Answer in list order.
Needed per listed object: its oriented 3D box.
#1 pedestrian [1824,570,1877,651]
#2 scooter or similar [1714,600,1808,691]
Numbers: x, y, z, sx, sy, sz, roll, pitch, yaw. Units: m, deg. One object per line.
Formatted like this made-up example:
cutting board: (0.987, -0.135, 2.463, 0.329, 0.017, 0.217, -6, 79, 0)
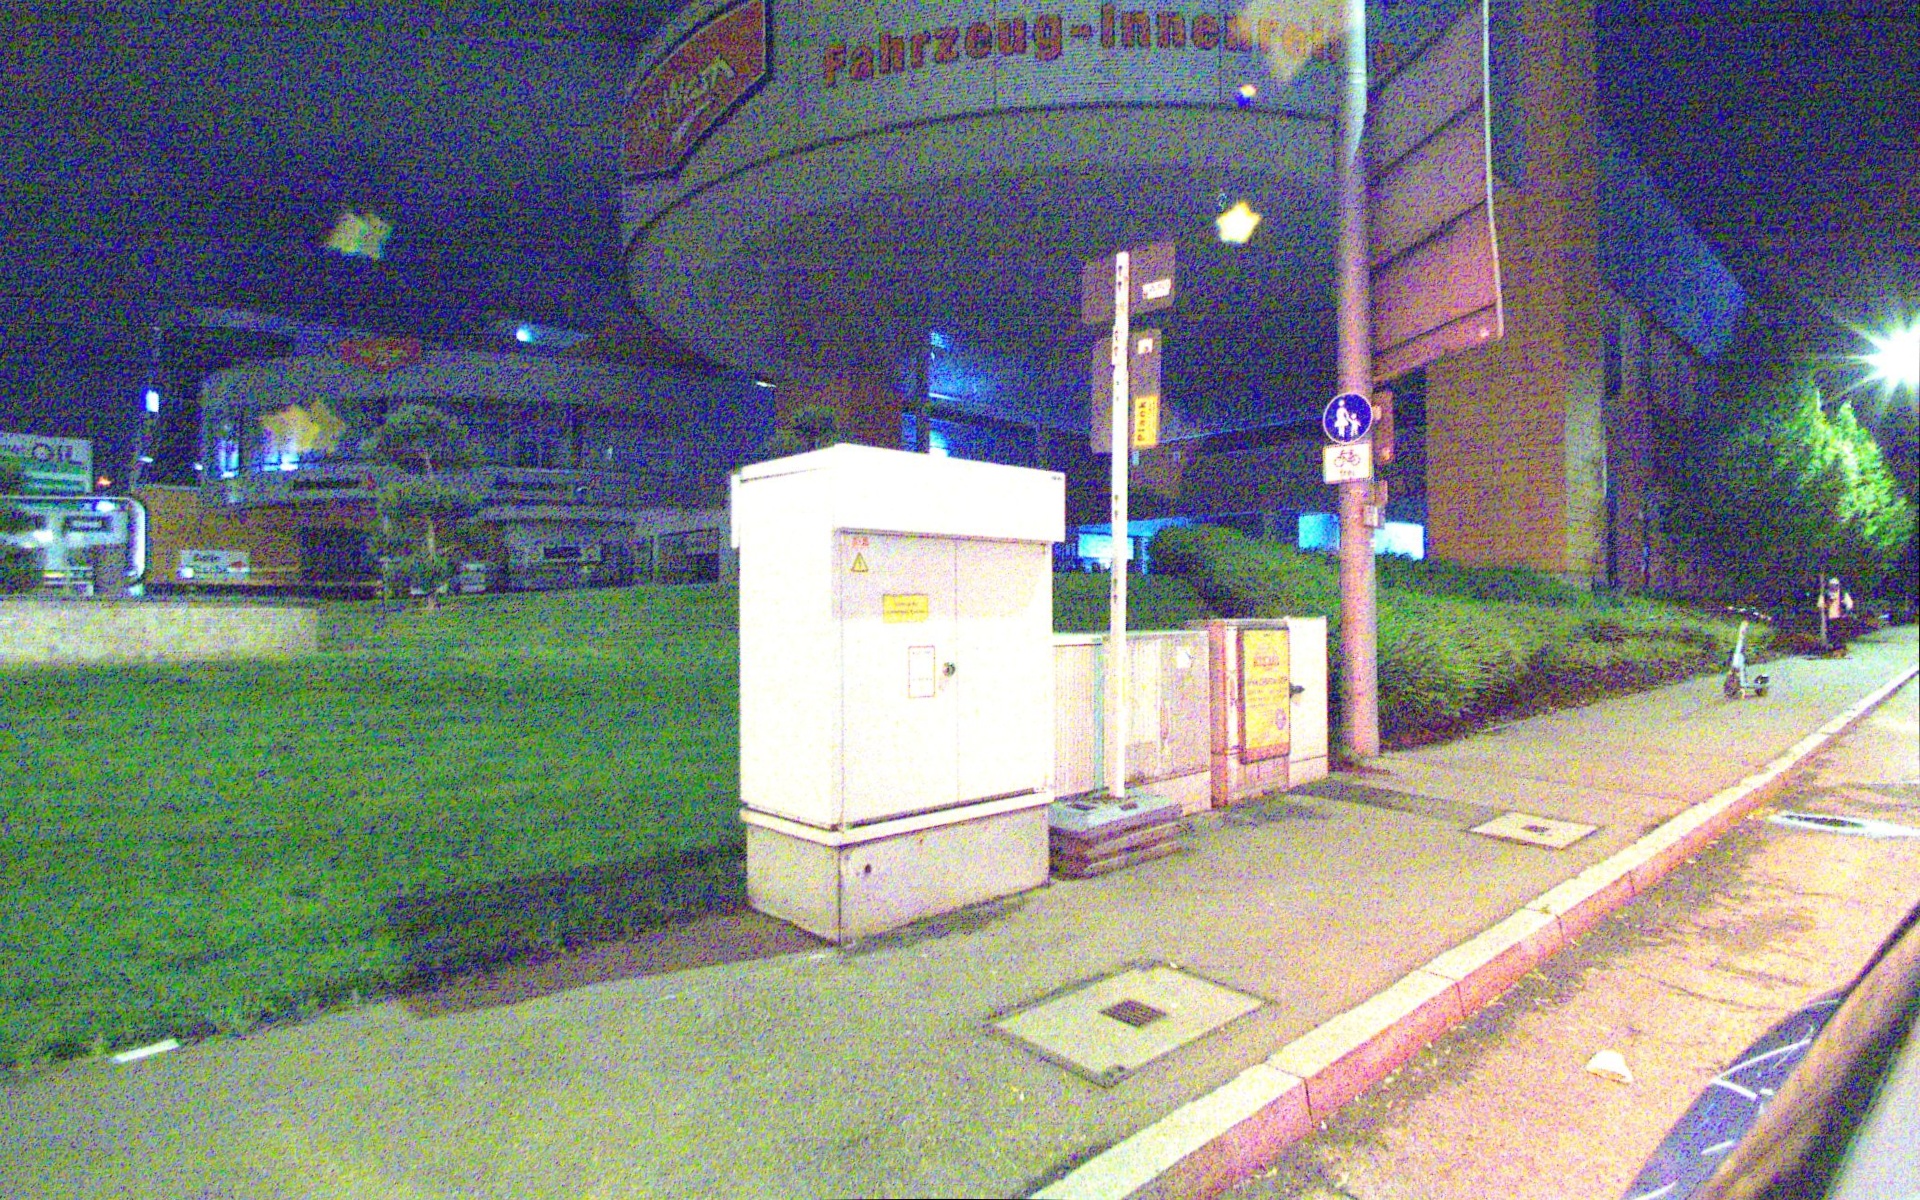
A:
pedestrian: (21.496, 0.240, 24.432, 1.016, 1.888, 0.819, 0, 0, -41)
scooter or similar: (11.062, 0.617, 13.985, 1.111, 1.217, 0.470, 1, -1, -17)
